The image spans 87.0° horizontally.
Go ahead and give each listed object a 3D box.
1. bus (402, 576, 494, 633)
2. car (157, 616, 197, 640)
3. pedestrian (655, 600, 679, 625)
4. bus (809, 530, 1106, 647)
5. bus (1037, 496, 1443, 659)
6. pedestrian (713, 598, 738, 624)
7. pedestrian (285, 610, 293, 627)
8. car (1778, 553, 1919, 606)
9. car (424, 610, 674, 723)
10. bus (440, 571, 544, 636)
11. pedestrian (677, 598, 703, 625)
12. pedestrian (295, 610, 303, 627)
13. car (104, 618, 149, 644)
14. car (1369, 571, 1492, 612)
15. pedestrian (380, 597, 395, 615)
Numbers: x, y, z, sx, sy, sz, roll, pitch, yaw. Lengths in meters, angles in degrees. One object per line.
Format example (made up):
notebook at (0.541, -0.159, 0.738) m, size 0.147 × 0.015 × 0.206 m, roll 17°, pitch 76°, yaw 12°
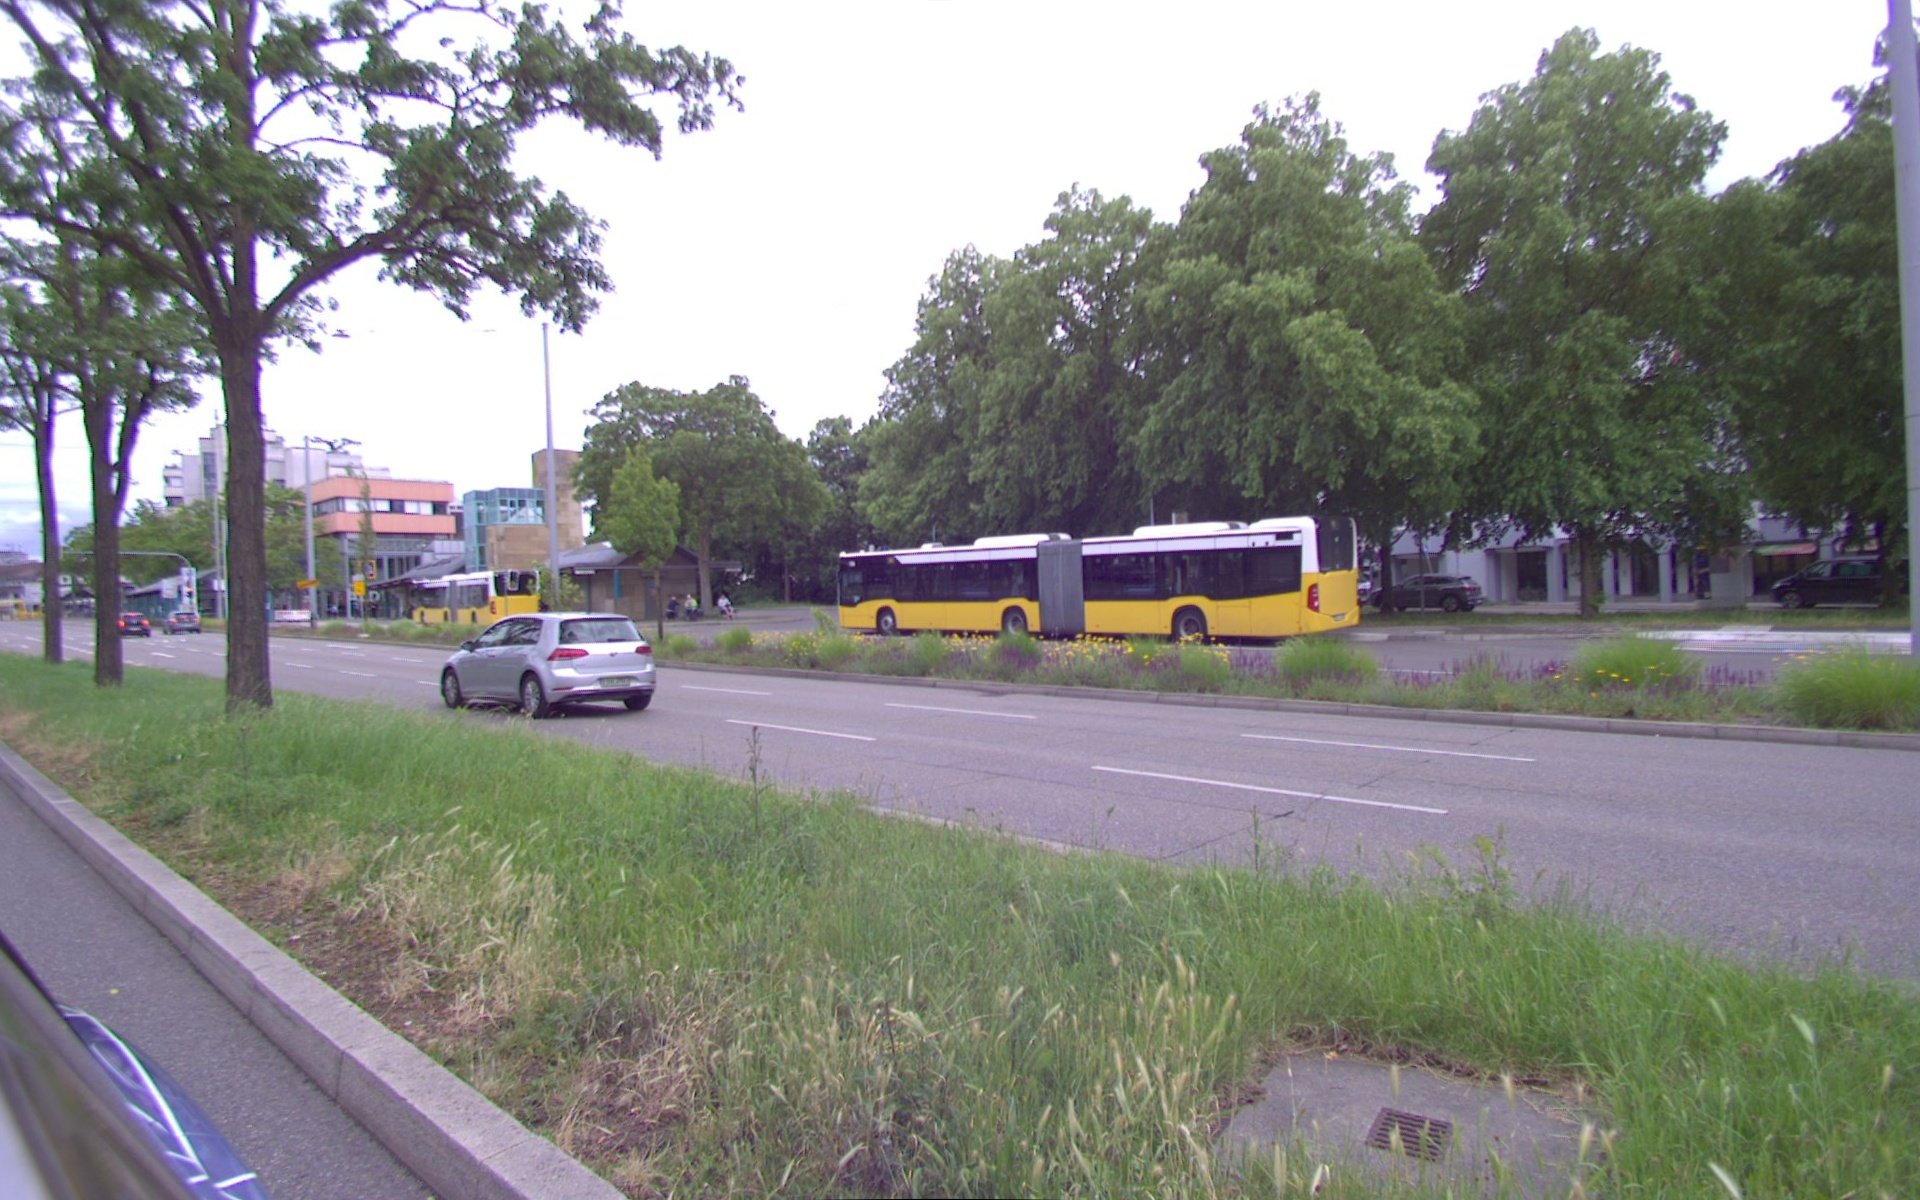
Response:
bus at (-31.734, 0.342, 62.512) m, size 2.742 × 3.155 × 9.452 m, roll -4°, pitch 2°, yaw -41°
car at (-54.029, 1.920, 69.813) m, size 1.794 × 1.519 × 4.004 m, roll -1°, pitch 0°, yaw -43°
pedestrian at (-15.033, 0.654, 51.960) m, size 0.887 × 1.264 × 0.854 m, roll -1°, pitch 0°, yaw 14°
bus at (-0.473, -0.331, 33.735) m, size 3.050 × 3.185 × 10.743 m, roll -8°, pitch 5°, yaw -45°
bus at (6.782, -0.468, 26.282) m, size 2.996 × 3.481 × 9.918 m, roll -4°, pitch 2°, yaw -44°
pedestrian at (-11.842, 0.536, 51.035) m, size 0.858 × 1.264 × 0.883 m, roll -2°, pitch 0°, yaw 43°
pedestrian at (-62.319, 1.691, 94.013) m, size 0.521 × 1.559 × 0.756 m, roll -2°, pitch 0°, yaw -32°
car at (34.303, -0.742, 38.292) m, size 1.967 × 1.846 × 4.829 m, roll -1°, pitch 0°, yaw -34°
car at (-6.184, 0.911, 15.028) m, size 4.131 × 1.455 × 1.735 m, roll -2°, pitch -2°, yaw 40°
bus at (-25.740, 0.225, 55.341) m, size 2.774 × 3.155 × 9.316 m, roll -4°, pitch 2°, yaw -39°
pedestrian at (-13.433, 0.582, 50.382) m, size 0.888 × 1.300 × 0.853 m, roll -1°, pitch 0°, yaw 18°
pedestrian at (-61.775, 1.763, 94.641) m, size 0.382 × 1.559 × 0.479 m, roll -2°, pitch 0°, yaw 34°
car at (-51.910, 1.894, 62.998) m, size 3.768 × 1.519 × 1.640 m, roll -1°, pitch 0°, yaw 43°
car at (19.702, -0.351, 42.510) m, size 1.970 × 1.593 × 4.251 m, roll -1°, pitch 0°, yaw -44°
pedestrian at (-48.405, 0.512, 85.572) m, size 0.975 × 1.472 × 0.593 m, roll -2°, pitch 0°, yaw -32°
